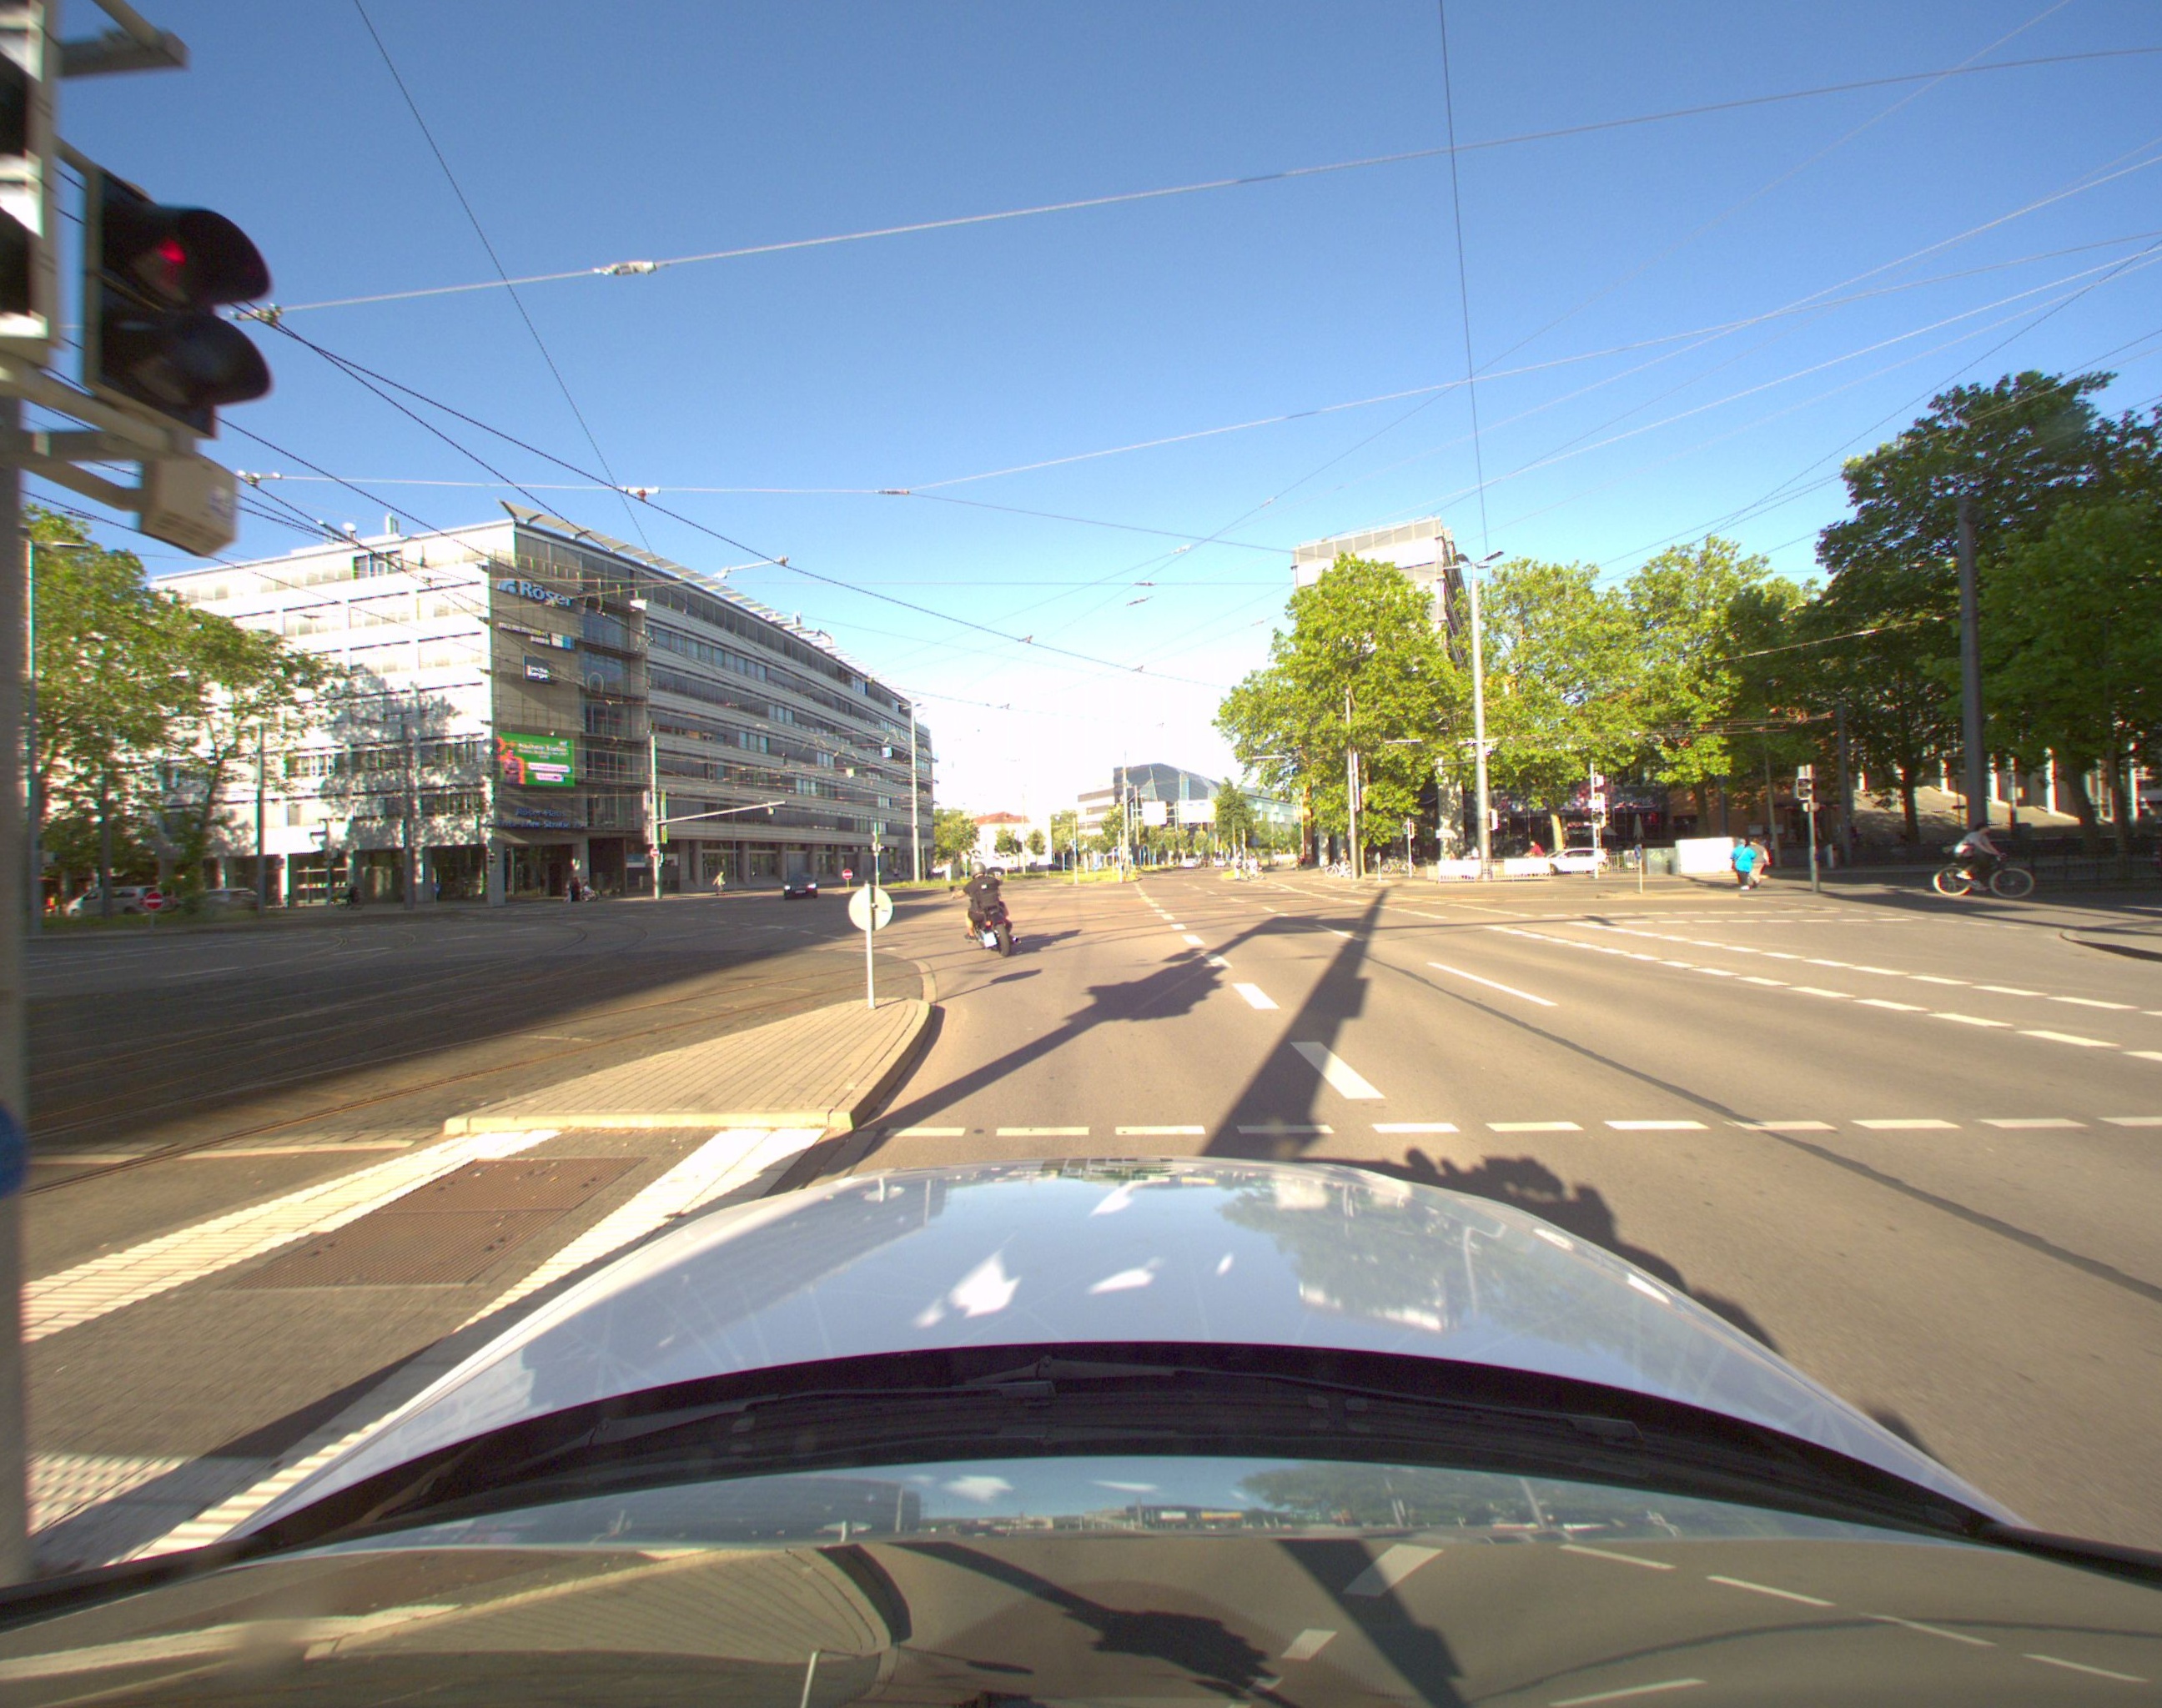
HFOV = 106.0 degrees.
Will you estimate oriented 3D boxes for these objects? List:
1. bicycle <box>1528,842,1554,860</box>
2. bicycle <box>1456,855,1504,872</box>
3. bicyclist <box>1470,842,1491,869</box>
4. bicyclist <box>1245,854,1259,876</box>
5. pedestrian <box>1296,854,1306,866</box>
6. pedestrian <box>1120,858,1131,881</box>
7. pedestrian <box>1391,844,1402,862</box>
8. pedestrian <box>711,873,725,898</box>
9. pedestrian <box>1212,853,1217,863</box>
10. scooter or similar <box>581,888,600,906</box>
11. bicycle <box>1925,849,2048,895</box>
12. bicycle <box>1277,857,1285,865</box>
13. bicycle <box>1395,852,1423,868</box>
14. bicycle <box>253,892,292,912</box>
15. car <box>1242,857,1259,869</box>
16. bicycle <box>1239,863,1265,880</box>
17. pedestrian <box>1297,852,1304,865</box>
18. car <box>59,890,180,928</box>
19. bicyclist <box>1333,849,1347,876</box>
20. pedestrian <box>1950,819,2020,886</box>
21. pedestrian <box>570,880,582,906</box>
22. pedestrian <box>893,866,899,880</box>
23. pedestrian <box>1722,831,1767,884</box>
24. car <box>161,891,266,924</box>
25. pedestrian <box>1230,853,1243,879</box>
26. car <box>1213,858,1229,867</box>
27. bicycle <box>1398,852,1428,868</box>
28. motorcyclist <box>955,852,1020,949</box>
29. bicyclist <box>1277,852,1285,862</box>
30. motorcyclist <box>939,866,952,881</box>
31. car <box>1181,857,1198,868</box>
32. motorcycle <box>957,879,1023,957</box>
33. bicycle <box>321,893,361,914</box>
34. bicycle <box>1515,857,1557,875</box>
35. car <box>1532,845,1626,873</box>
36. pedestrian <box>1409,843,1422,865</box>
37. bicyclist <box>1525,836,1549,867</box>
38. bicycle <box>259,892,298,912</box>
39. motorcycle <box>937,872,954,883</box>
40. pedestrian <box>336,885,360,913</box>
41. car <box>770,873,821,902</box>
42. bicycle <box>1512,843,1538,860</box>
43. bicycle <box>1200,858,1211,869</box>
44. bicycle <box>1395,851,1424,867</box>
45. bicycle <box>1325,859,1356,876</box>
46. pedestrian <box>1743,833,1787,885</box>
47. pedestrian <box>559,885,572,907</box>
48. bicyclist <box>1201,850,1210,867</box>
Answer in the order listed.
[{"bbox_3d":[31.661,-0.211,56.053,0.866,1.091,2.951,-2,0,42],"label":"bicycle"},{"bbox_3d":[29.434,0.716,60.124,3.011,1.113,0.840,-2,-1,34],"label":"bicycle"},{"bbox_3d":[29.483,0.104,60.028,1.214,1.931,0.840,-2,-1,34],"label":"bicyclist"},{"bbox_3d":[11.463,0.737,54.673,0.736,1.503,0.573,-3,-1,26],"label":"bicyclist"},{"bbox_3d":[21.052,0.560,77.942,0.777,1.057,0.819,-3,0,24],"label":"pedestrian"},{"bbox_3d":[3.087,1.047,56.468,0.654,1.582,0.490,-2,0,5],"label":"pedestrian"},{"bbox_3d":[26.829,-0.073,69.270,0.769,1.527,0.567,-3,-1,25],"label":"pedestrian"},{"bbox_3d":[-26.382,2.289,59.228,0.680,1.823,0.875,-2,-2,-38],"label":"pedestrian"},{"bbox_3d":[24.424,0.697,149.500,0.635,1.819,0.634,-3,0,33],"label":"pedestrian"},{"bbox_3d":[-32.964,2.866,54.765,1.021,1.129,0.545,-2,-1,-28],"label":"scooter or similar"},{"bbox_3d":[22.080,0.440,19.925,0.788,1.052,1.920,-1,-1,-5],"label":"bicycle"},{"bbox_3d":[27.450,0.946,111.905,1.033,1.133,3.191,-2,0,12],"label":"bicycle"},{"bbox_3d":[21.932,0.383,54.509,1.692,0.986,0.392,-2,0,15],"label":"bicycle"},{"bbox_3d":[-52.543,3.103,52.927,0.466,1.151,1.843,-2,1,9],"label":"bicycle"},{"bbox_3d":[27.122,1.377,130.467,2.036,1.874,4.247,-1,-1,19],"label":"car"},{"bbox_3d":[11.469,1.167,54.671,1.612,1.021,0.519,-3,-1,27],"label":"bicycle"},{"bbox_3d":[27.157,0.555,100.736,0.700,1.569,0.625,-3,0,14],"label":"pedestrian"},{"bbox_3d":[-57.009,3.249,48.339,4.889,1.843,1.930,-2,2,2],"label":"car"},{"bbox_3d":[16.699,0.527,52.541,0.737,1.694,0.572,-3,-1,12],"label":"bicyclist"},{"bbox_3d":[22.097,-0.035,19.925,0.769,1.594,0.836,-1,-1,-6],"label":"pedestrian"},{"bbox_3d":[-33.720,2.615,54.371,0.640,1.708,0.576,-2,-1,-28],"label":"pedestrian"},{"bbox_3d":[-23.003,2.357,101.316,0.545,1.733,0.643,-2,0,7],"label":"pedestrian"},{"bbox_3d":[19.768,0.117,24.273,0.674,1.540,0.741,-1,-1,-6],"label":"pedestrian"},{"bbox_3d":[-51.331,3.157,48.239,4.378,1.572,1.869,-2,2,5],"label":"car"},{"bbox_3d":[10.852,0.837,56.733,0.693,1.837,0.518,-2,-1,37],"label":"pedestrian"},{"bbox_3d":[23.654,1.347,137.133,1.999,1.376,4.058,-2,0,19],"label":"car"},{"bbox_3d":[21.497,0.377,52.760,1.692,0.986,0.392,-2,0,15],"label":"bicycle"},{"bbox_3d":[-1.604,0.748,13.803,1.022,1.552,1.282,-1,0,-9],"label":"motorcyclist"},{"bbox_3d":[27.417,0.441,111.603,1.033,1.381,1.569,-2,0,12],"label":"bicyclist"},{"bbox_3d":[-16.249,2.374,97.692,1.012,1.731,1.465,-2,-1,12],"label":"motorcyclist"},{"bbox_3d":[15.349,1.161,115.050,1.887,1.508,4.017,-1,-1,16],"label":"car"},{"bbox_3d":[-1.592,1.030,13.875,1.005,1.125,2.316,-1,0,-9],"label":"motorcycle"},{"bbox_3d":[-44.436,2.963,48.901,1.834,1.163,0.613,-1,3,3],"label":"bicycle"},{"bbox_3d":[24.437,0.626,43.796,1.844,0.910,0.653,-2,-1,5],"label":"bicycle"},{"bbox_3d":[27.748,0.292,45.500,3.967,1.486,2.003,-1,-1,5],"label":"car"},{"bbox_3d":[27.816,0.012,67.798,0.839,1.852,0.815,0,-1,35],"label":"pedestrian"},{"bbox_3d":[24.524,-0.120,43.800,0.921,1.615,0.638,-2,-1,5],"label":"bicyclist"},{"bbox_3d":[-52.073,3.095,52.866,0.466,1.151,1.843,-2,1,9],"label":"bicycle"},{"bbox_3d":[-16.246,2.819,97.644,0.977,1.232,2.953,-2,-1,13],"label":"motorcycle"},{"bbox_3d":[-44.353,2.733,49.274,0.831,1.611,0.607,-1,2,2],"label":"pedestrian"},{"bbox_3d":[-15.983,1.822,45.480,1.803,1.466,4.268,-3,0,-31],"label":"car"},{"bbox_3d":[30.894,-0.191,56.590,0.866,1.091,2.951,-2,0,42],"label":"bicycle"},{"bbox_3d":[19.397,1.510,126.612,1.008,1.579,3.591,-2,0,19],"label":"bicycle"},{"bbox_3d":[21.800,0.339,54.091,1.692,0.986,0.392,-2,0,15],"label":"bicycle"},{"bbox_3d":[16.707,0.871,52.532,1.840,1.021,0.518,-3,-1,12],"label":"bicycle"},{"bbox_3d":[20.642,0.156,24.600,0.649,1.540,0.741,-1,-1,-6],"label":"pedestrian"},{"bbox_3d":[-33.638,2.747,53.158,0.640,1.402,0.541,-2,-1,-28],"label":"pedestrian"},{"bbox_3d":[19.390,0.697,126.569,1.008,2.624,1.479,-2,-1,19],"label":"bicyclist"}]
